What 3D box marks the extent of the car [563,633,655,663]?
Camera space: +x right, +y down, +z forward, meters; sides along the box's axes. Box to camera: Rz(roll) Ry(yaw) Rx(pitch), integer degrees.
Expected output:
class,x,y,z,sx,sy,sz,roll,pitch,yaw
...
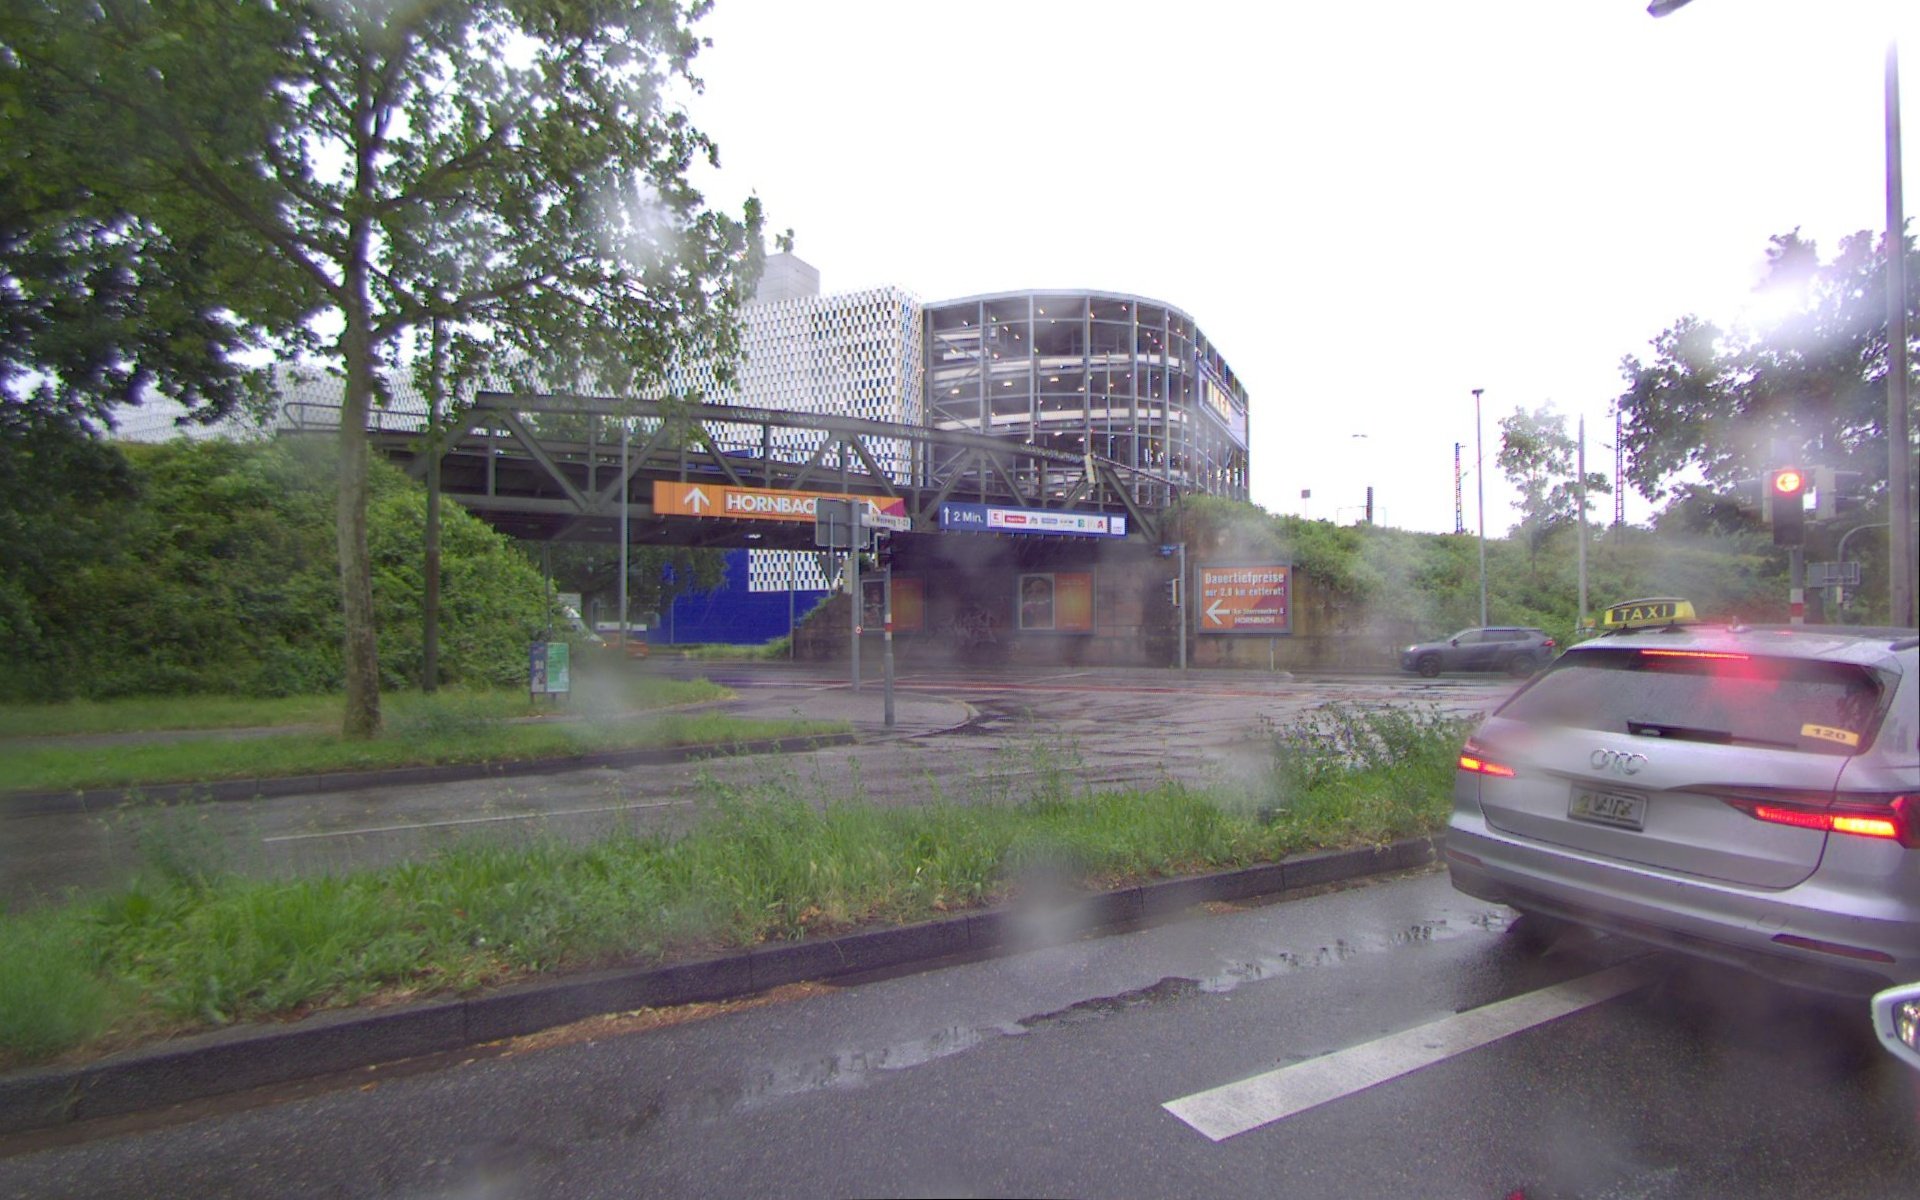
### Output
class,x,y,z,sx,sy,sz,roll,pitch,yaw
car,-17.007,2.308,48.676,4.131,1.392,1.746,0,-2,24

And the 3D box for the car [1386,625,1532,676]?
class,x,y,z,sx,sy,sz,roll,pitch,yaw
car,16.232,1.626,32.908,4.166,1.580,1.746,-1,-2,24

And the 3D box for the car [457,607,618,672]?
class,x,y,z,sx,sy,sz,roll,pitch,yaw
car,-18.151,1.683,43.095,6.847,2.645,2.386,-1,-2,25

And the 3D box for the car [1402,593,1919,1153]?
class,x,y,z,sx,sy,sz,roll,pitch,yaw
car,4.390,0.812,4.802,4.766,1.595,1.760,1,0,-31

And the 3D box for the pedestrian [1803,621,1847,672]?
class,x,y,z,sx,sy,sz,roll,pitch,yaw
pedestrian,32.379,1.733,37.600,1.122,1.871,1.092,2,-2,-41
